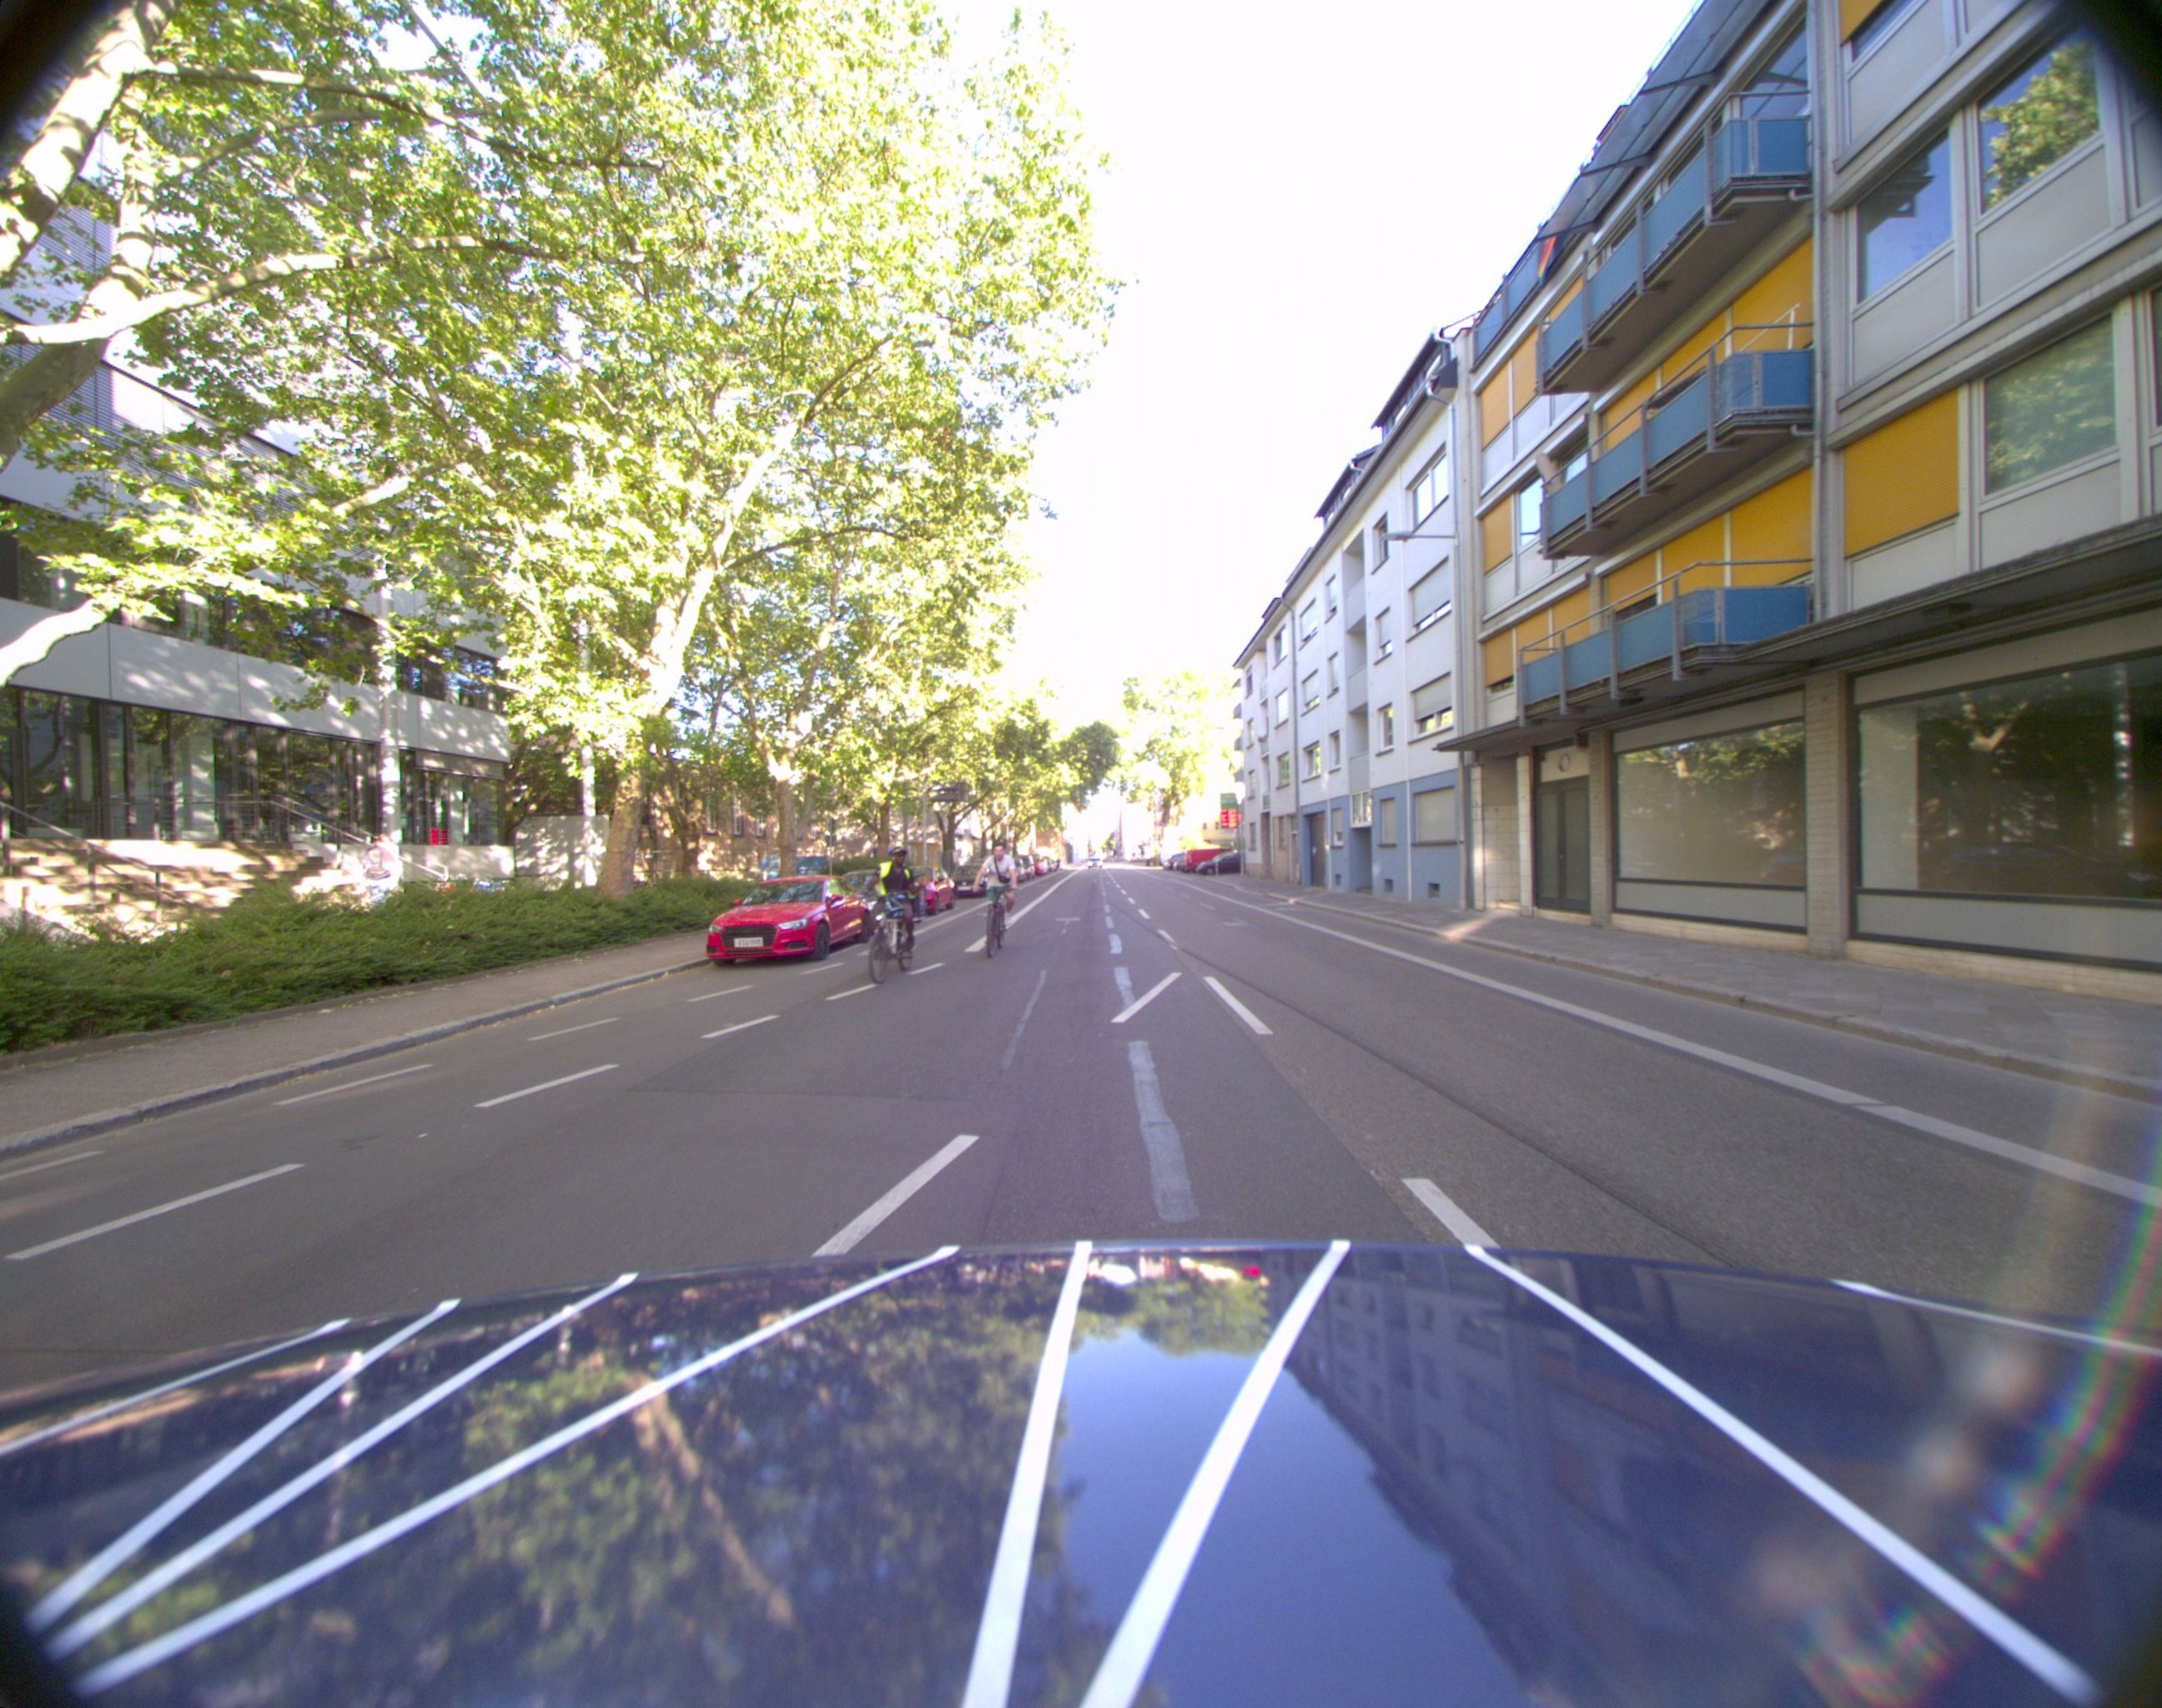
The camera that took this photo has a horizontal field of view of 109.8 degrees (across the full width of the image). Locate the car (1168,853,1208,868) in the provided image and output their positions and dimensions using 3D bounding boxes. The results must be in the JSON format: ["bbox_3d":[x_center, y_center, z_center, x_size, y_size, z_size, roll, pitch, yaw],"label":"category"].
[{"bbox_3d":[10.267,0.626,73.021,3.687,1.238,1.345,-2,1,2],"label":"car"}]

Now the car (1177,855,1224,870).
[{"bbox_3d":[9.812,0.692,62.579,3.687,1.122,1.345,-2,1,2],"label":"car"}]

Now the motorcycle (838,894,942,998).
[{"bbox_3d":[-2.569,1.199,10.536,0.799,1.125,2.236,-2,1,1],"label":"motorcycle"}]

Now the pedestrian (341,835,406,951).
[{"bbox_3d":[-12.673,0.682,13.629,0.552,2.002,0.562,-2,1,-11],"label":"pedestrian"}]

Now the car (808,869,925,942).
[{"bbox_3d":[-5.052,1.162,18.403,1.669,1.410,3.697,-2,1,1],"label":"car"}]

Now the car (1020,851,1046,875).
[{"bbox_3d":[-4.171,0.724,66.083,1.915,1.940,3.769,-2,1,0],"label":"car"}]

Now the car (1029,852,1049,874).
[{"bbox_3d":[-3.903,0.808,70.995,1.599,1.835,3.769,-2,1,0],"label":"car"}]

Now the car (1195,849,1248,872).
[{"bbox_3d":[10.533,0.483,57.089,3.687,1.503,1.490,-2,1,2],"label":"car"}]

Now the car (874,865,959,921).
[{"bbox_3d":[-5.015,1.133,23.676,1.692,1.441,3.923,-2,1,1],"label":"car"}]

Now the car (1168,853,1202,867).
[{"bbox_3d":[10.323,0.581,75.458,3.271,1.238,1.345,-2,1,2],"label":"car"}]

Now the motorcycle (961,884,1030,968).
[{"bbox_3d":[-1.368,1.136,12.577,0.865,1.161,1.929,-2,1,1],"label":"motorcycle"}]

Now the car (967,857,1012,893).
[{"bbox_3d":[-4.519,0.993,38.099,1.634,1.569,4.231,-2,1,0],"label":"car"}]

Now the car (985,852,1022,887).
[{"bbox_3d":[-4.456,0.854,44.232,1.634,1.781,4.576,-2,1,0],"label":"car"}]

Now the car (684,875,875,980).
[{"bbox_3d":[-5.163,1.179,13.649,1.794,1.384,3.999,-2,1,0],"label":"car"}]

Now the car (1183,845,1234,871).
[{"bbox_3d":[10.060,0.320,59.934,3.688,1.897,1.490,-2,-1,-1],"label":"car"}]

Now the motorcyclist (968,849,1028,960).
[{"bbox_3d":[-1.384,0.815,12.817,0.833,1.778,0.913,-2,1,1],"label":"motorcyclist"}]

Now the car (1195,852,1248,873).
[{"bbox_3d":[10.090,0.588,54.720,3.508,1.380,1.490,-2,1,2],"label":"car"}]

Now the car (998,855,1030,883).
[{"bbox_3d":[-4.354,0.941,50.104,1.634,1.604,4.576,-2,1,0],"label":"car"}]

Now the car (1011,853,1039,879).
[{"bbox_3d":[-4.038,0.816,55.231,1.634,1.725,3.769,-2,1,0],"label":"car"}]

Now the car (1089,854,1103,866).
[{"bbox_3d":[1.942,0.739,100.643,1.752,1.423,4.266,-2,0,1],"label":"car"}]

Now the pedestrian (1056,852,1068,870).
[{"bbox_3d":[-1.908,0.673,75.535,0.827,1.727,0.894,-2,1,29],"label":"pedestrian"}]

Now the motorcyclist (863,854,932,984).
[{"bbox_3d":[-2.574,0.886,10.726,0.719,1.733,0.751,-2,1,1],"label":"motorcyclist"}]

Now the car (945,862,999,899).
[{"bbox_3d":[-4.695,1.112,33.228,1.692,1.414,3.923,-2,1,0],"label":"car"}]
